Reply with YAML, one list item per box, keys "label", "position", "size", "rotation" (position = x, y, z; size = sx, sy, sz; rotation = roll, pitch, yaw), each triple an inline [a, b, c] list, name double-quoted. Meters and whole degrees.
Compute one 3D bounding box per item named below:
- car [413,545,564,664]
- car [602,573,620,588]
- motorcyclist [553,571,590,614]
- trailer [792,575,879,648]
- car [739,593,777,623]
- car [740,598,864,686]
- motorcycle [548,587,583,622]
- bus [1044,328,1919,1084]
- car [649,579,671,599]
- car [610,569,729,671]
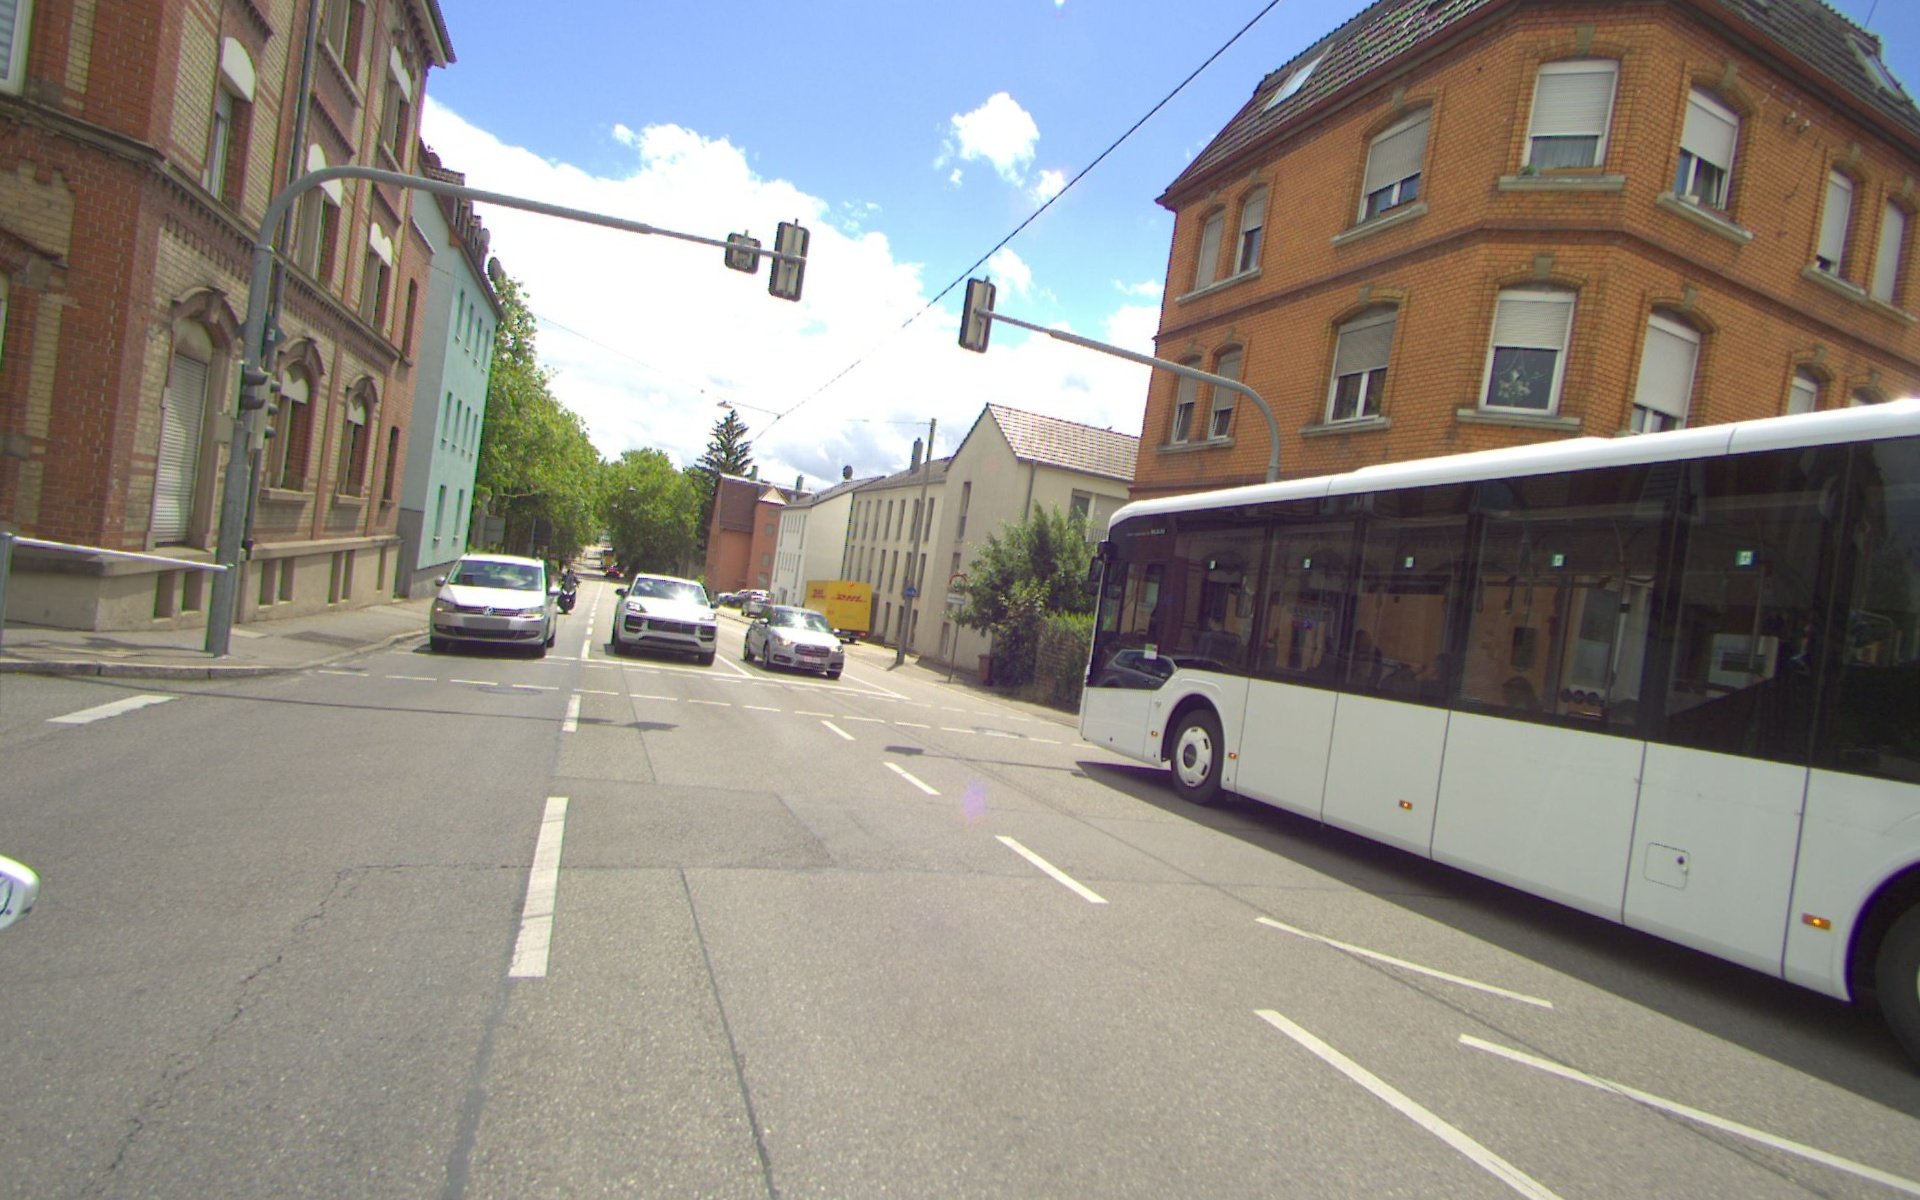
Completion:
- label: "car"
  position: [-8.291, 0.038, 18.094]
  size: [1.971, 1.738, 4.591]
  rotation: [5, 0, -20]
- label: "car"
  position: [-47.032, -2.655, 135.493]
  size: [1.972, 1.737, 4.592]
  rotation: [7, -1, -20]
- label: "motorcyclist"
  position: [-14.283, -0.276, 37.033]
  size: [1.067, 1.395, 1.412]
  rotation: [8, -1, -20]
- label: "trailer"
  position: [-6.192, 0.582, 49.106]
  size: [2.952, 2.908, 6.712]
  rotation: [8, -3, -15]
- label: "car"
  position: [-13.873, 0.537, 68.894]
  size: [1.970, 1.737, 4.597]
  rotation: [7, -1, -16]
- label: "car"
  position: [-3.660, 0.880, 22.699]
  size: [1.832, 1.493, 3.953]
  rotation: [10, -2, -20]
- label: "motorcycle"
  position: [-14.444, 0.144, 36.924]
  size: [0.930, 1.061, 3.311]
  rotation: [8, -1, -19]
- label: "bus"
  position: [4.833, 0.625, 7.387]
  size: [2.930, 3.426, 12.374]
  rotation: [9, -3, -21]
- label: "car"
  position: [-30.288, -1.082, 101.604]
  size: [1.970, 1.737, 4.597]
  rotation: [7, -1, -16]
- label: "car"
  position: [-6.358, 0.356, 21.650]
  size: [1.972, 1.737, 4.591]
  rotation: [7, -1, -20]
